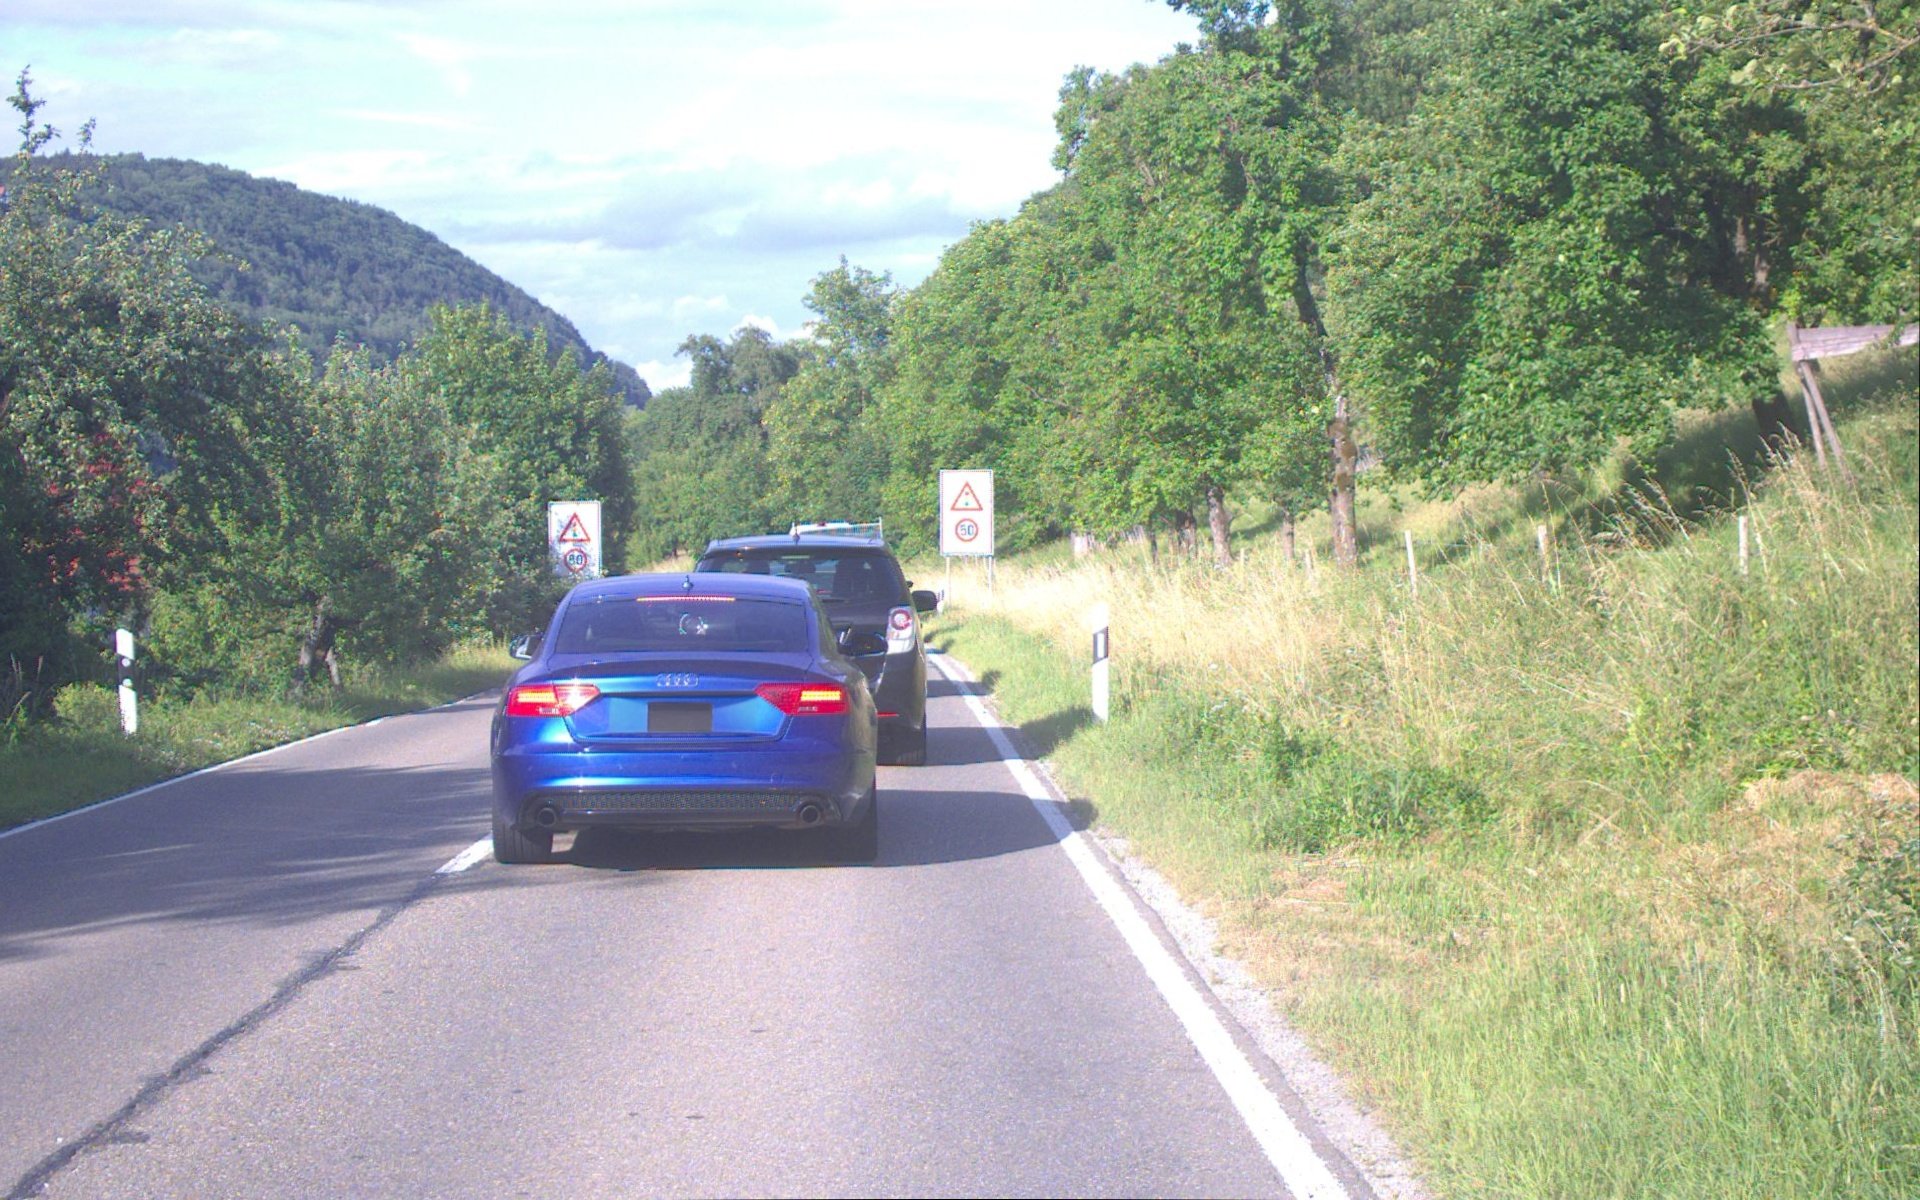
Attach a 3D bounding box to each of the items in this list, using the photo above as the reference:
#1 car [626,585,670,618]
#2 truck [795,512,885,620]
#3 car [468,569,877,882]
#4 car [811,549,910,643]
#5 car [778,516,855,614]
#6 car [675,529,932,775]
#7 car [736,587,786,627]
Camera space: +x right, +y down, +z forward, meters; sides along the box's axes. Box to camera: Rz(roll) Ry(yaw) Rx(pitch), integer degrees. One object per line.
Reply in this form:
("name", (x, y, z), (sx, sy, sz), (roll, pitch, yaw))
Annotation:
("car", (-15.245, 0.066, 168.068), (1.558, 1.491, 3.779), (1, 1, -14))
("truck", (-2.747, -0.777, 78.147), (1.949, 2.337, 5.094), (1, 1, -3))
("car", (-1.333, 0.546, 17.441), (1.805, 1.377, 4.215), (-1, 0, -1))
("car", (-1.786, -0.102, 61.474), (1.692, 1.618, 3.789), (0, 1, -2))
("car", (-3.725, -0.900, 88.592), (1.792, 2.445, 3.920), (1, 1, -5))
("car", (-1.102, 0.312, 24.701), (1.692, 1.618, 3.789), (0, 1, -2))
("car", (-8.000, 0.272, 138.067), (1.558, 1.491, 3.779), (1, 1, -10))
